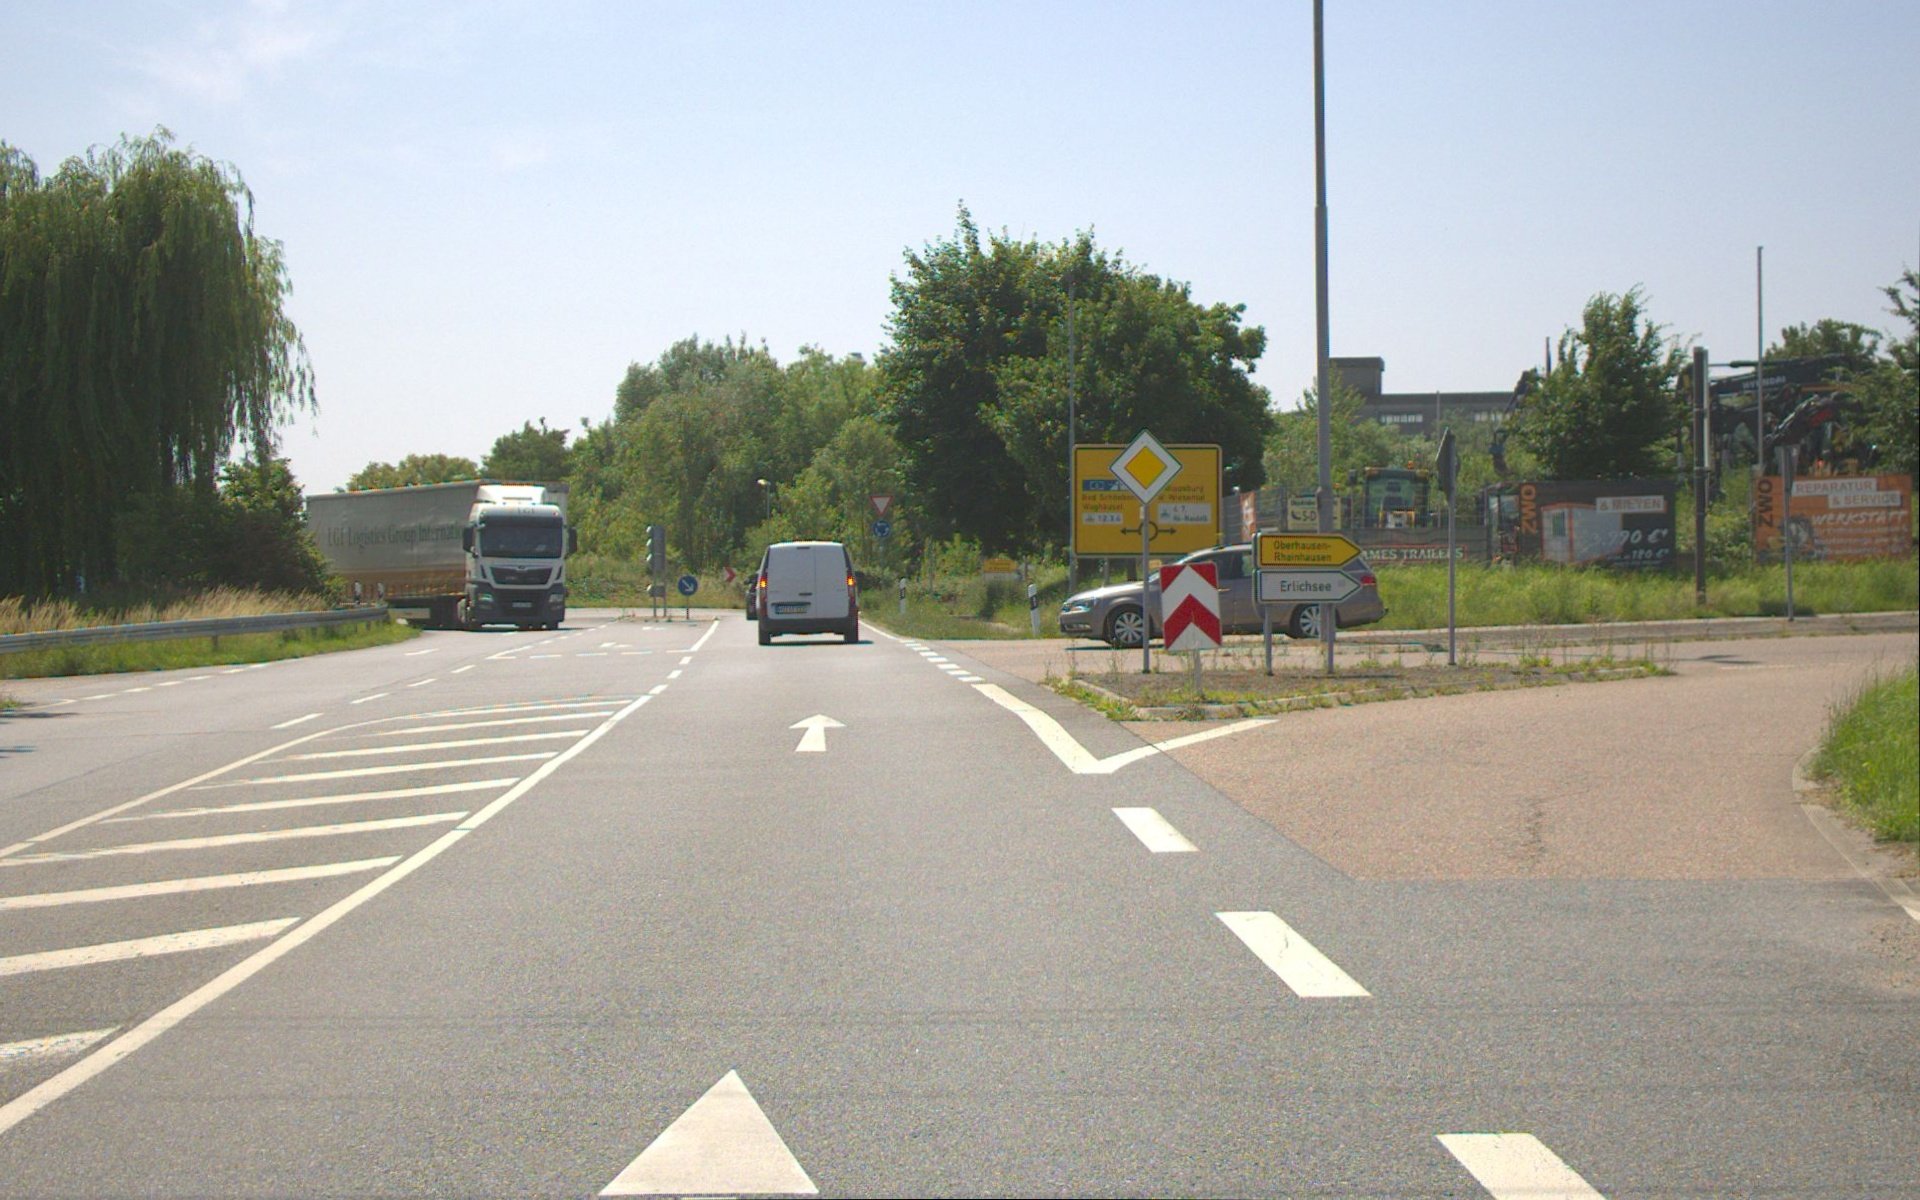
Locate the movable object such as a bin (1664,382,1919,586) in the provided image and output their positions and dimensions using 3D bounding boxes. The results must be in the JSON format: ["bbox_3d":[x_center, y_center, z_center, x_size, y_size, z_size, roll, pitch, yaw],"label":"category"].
[{"bbox_3d":[18.312,-2.512,75.485,5.085,4.260,2.834,1,-1,0],"label":"movable object such as a bin"}]

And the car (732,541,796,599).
[{"bbox_3d":[-5.652,-0.873,99.310,1.805,1.550,4.001,-1,2,-3],"label":"car"}]

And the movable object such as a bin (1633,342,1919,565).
[{"bbox_3d":[20.145,-3.516,84.049,6.591,5.130,3.806,1,-1,0],"label":"movable object such as a bin"}]

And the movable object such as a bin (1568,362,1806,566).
[{"bbox_3d":[19.604,-3.637,92.998,5.716,5.251,3.221,1,-1,0],"label":"movable object such as a bin"}]

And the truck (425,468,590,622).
[{"bbox_3d":[-12.437,-1.514,93.951,2.789,4.042,6.755,1,1,-22],"label":"truck"}]

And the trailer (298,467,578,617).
[{"bbox_3d":[-15.294,-1.728,99.379,2.790,4.042,13.502,0,1,-32],"label":"trailer"}]

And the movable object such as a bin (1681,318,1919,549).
[{"bbox_3d":[20.101,-3.837,80.148,5.918,5.088,3.108,1,-1,0],"label":"movable object such as a bin"}]

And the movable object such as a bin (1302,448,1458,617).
[{"bbox_3d":[8.595,-1.336,70.836,2.322,3.239,5.102,1,-1,-3],"label":"movable object such as a bin"}]

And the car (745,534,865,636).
[{"bbox_3d":[-2.764,-0.264,60.716,1.903,1.726,3.823,0,0,-6],"label":"car"}]

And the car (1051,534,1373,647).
[{"bbox_3d":[3.655,-0.155,50.458,4.511,1.503,1.915,-1,1,-2],"label":"car"}]
